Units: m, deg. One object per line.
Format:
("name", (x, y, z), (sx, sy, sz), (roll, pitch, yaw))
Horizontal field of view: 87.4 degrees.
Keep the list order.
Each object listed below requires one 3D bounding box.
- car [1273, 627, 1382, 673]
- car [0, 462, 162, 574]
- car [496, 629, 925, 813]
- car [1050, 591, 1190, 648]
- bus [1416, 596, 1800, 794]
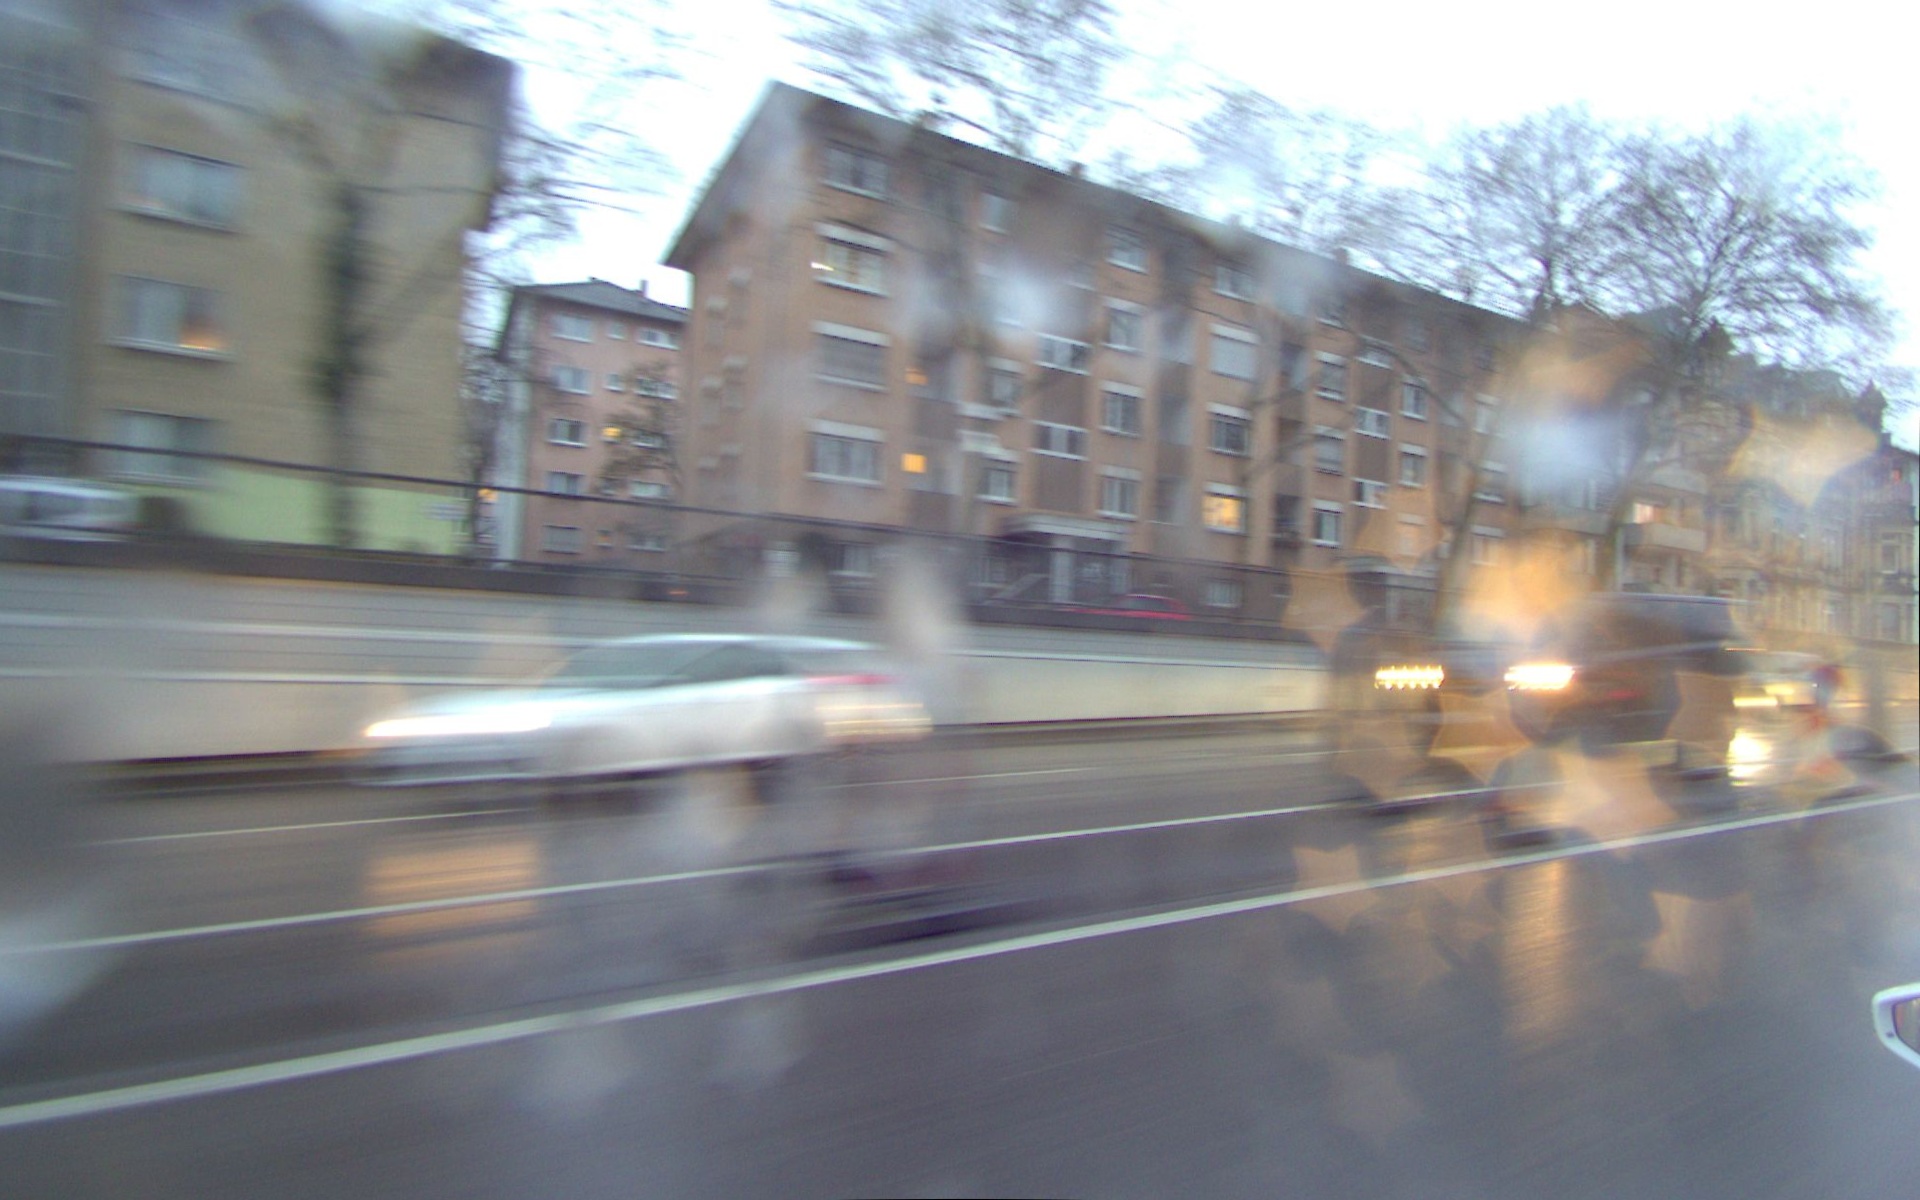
("car", (11.280, 1.560, 30.782), (3.224, 1.289, 1.434), (4, -4, -30))
("car", (-15.071, -1.331, 15.858), (3.583, 1.491, 1.558), (4, -4, -30))
("car", (-2.418, 1.057, 9.923), (3.827, 1.510, 1.667), (1, -3, -29))
("car", (4.230, 0.558, 26.464), (3.545, 1.289, 1.434), (4, -4, -30))
("bus", (7.930, 1.086, 12.160), (5.112, 1.991, 1.667), (2, -4, -29))
